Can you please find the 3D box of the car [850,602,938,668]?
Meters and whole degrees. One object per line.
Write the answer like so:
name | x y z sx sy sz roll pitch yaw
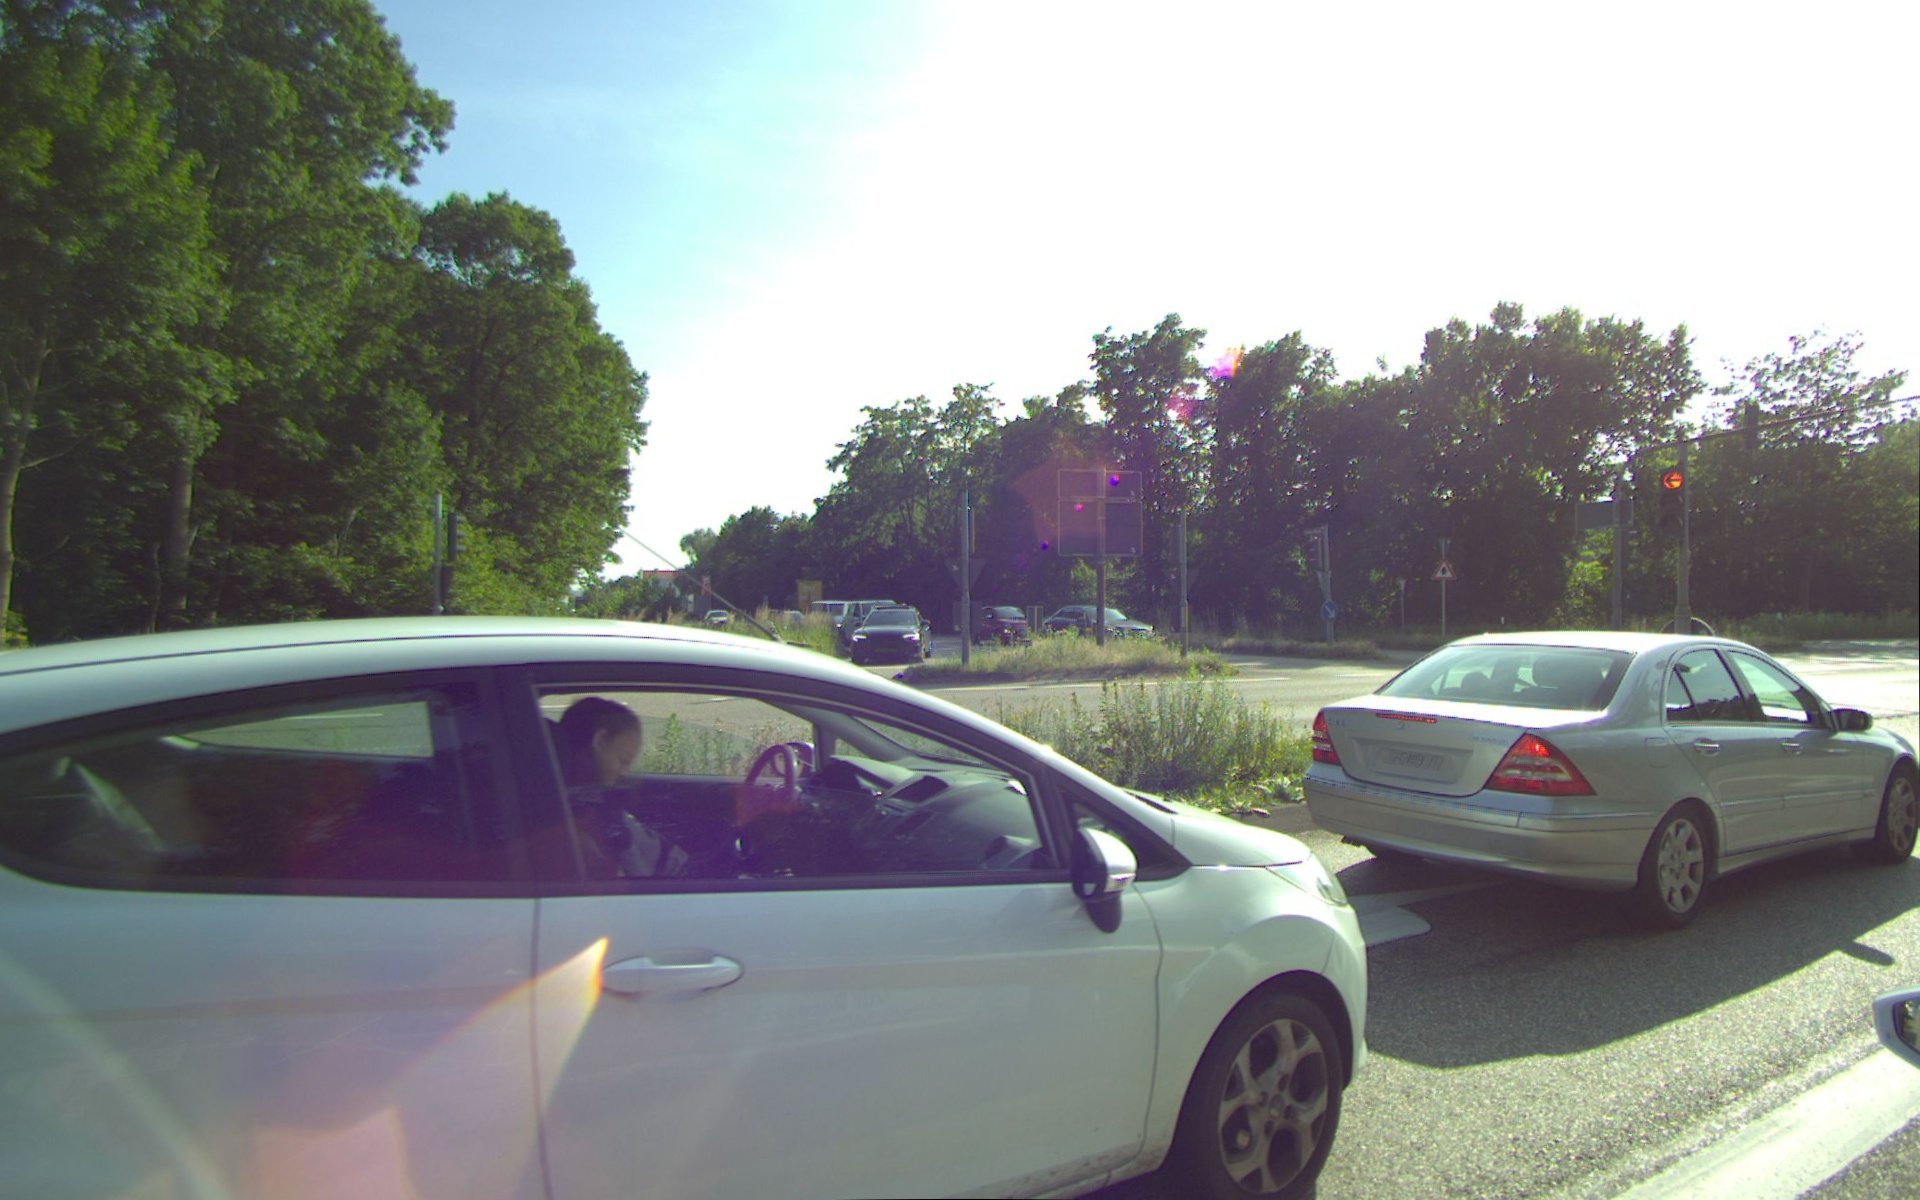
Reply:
car | -1.710 0.882 27.462 1.960 1.510 4.562 2 1 2

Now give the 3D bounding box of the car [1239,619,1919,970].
car | 4.042 0.851 6.070 4.744 1.440 1.727 1 -1 -30

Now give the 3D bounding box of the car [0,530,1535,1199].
car | -0.532 0.701 2.546 4.054 1.509 1.638 1 -1 -30

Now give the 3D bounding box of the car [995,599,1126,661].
car | 2.739 0.805 28.490 1.970 1.510 4.401 1 1 -20

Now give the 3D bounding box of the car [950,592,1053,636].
car | 1.520 0.503 39.084 2.175 1.510 4.963 1 1 -21

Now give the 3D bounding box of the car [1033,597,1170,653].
car | 4.399 0.743 31.846 1.977 1.510 4.384 1 1 -31

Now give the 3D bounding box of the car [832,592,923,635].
car | -3.471 0.506 41.062 2.410 1.510 5.046 1 1 -21

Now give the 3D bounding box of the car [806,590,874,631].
car | -5.748 0.480 47.640 2.159 1.750 4.629 1 1 -21

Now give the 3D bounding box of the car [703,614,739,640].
car | -18.378 2.085 77.126 2.102 1.750 4.629 1 1 -21
